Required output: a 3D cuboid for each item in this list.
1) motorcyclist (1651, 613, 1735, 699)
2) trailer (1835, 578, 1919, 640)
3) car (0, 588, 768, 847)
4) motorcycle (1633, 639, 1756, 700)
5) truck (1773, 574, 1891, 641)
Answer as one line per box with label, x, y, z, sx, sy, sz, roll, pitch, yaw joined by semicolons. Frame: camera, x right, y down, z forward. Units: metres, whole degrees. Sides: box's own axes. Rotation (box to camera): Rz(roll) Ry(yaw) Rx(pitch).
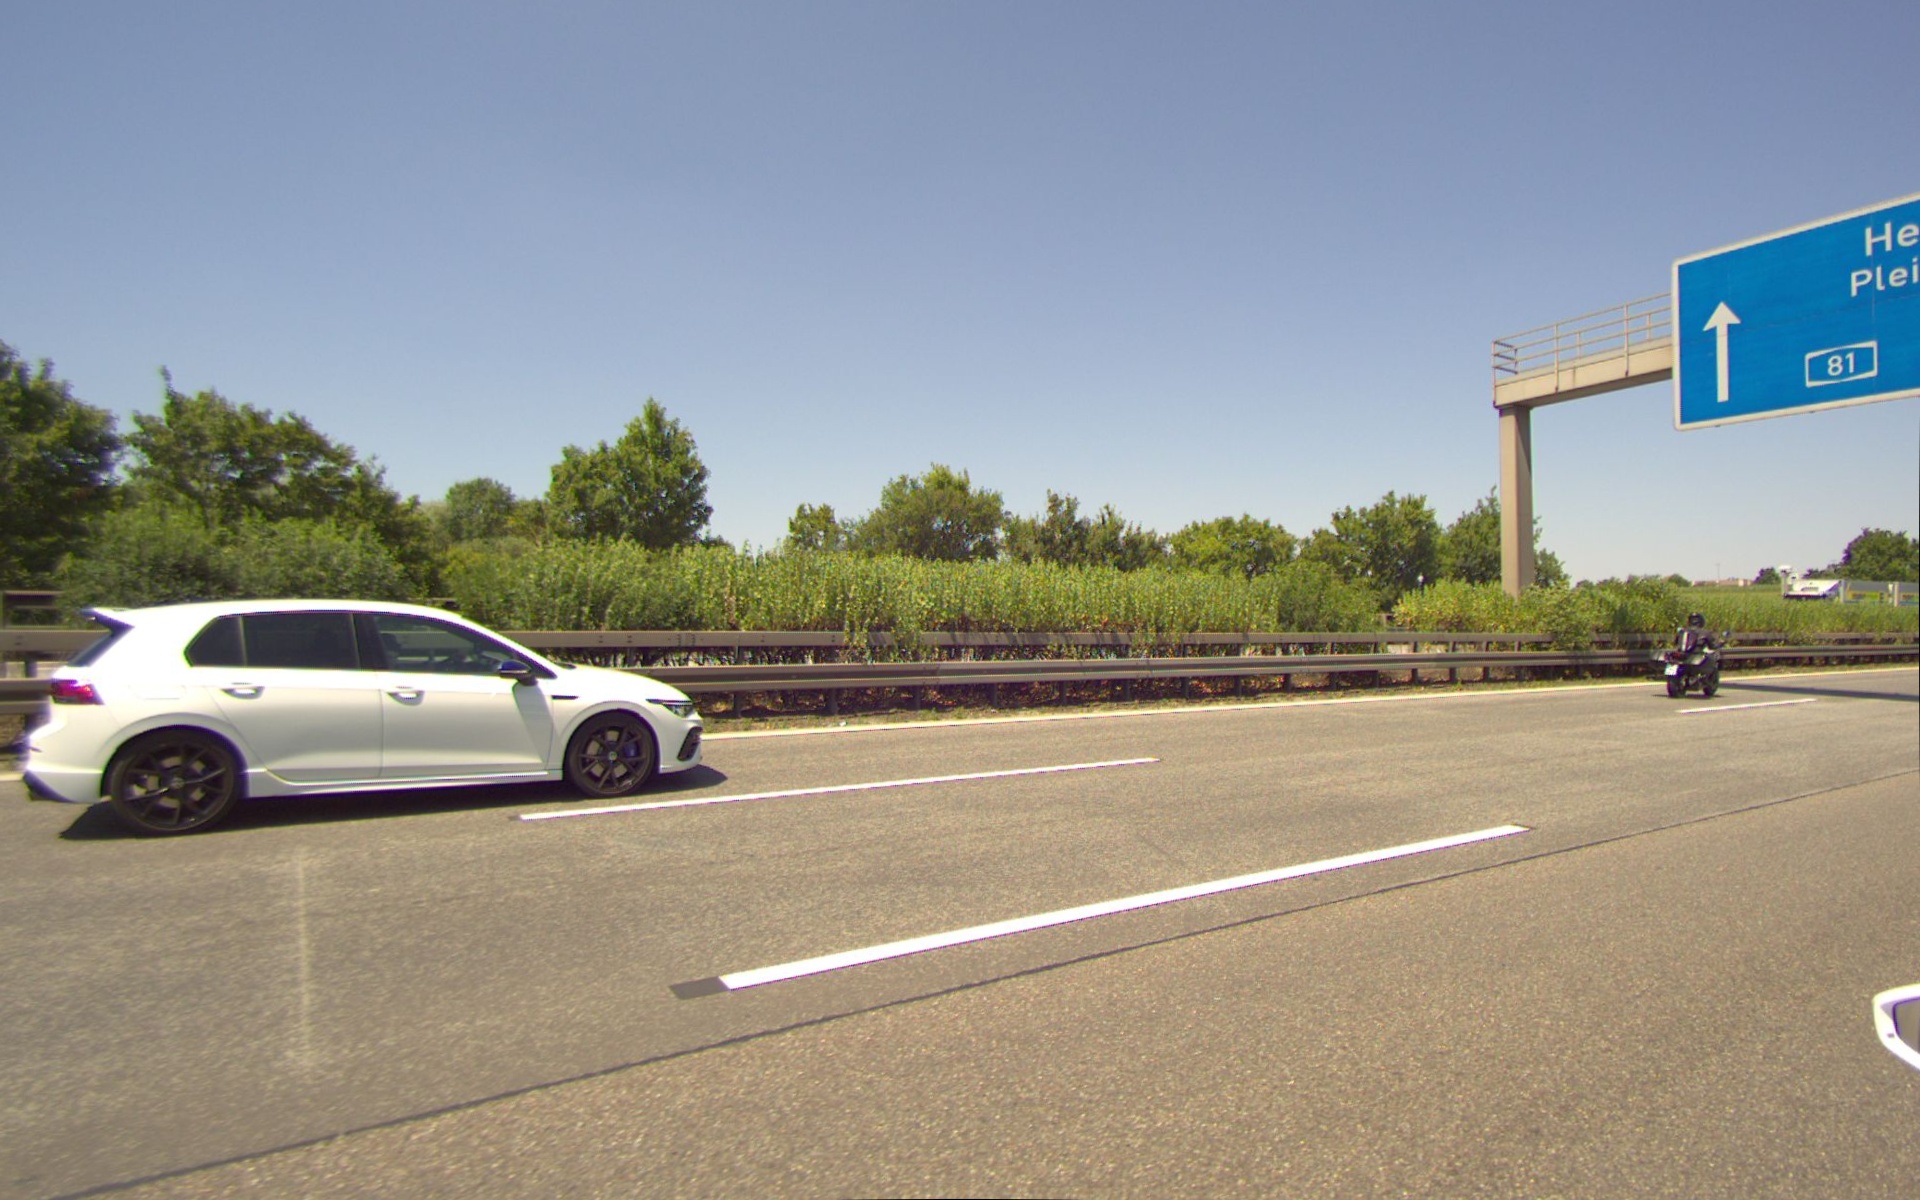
motorcyclist;14.299;1.075;19.604;1.284;1.618;0.889;1;-1;-30
trailer;63.944;0.661;69.432;8.564;4.020;2.906;1;0;-33
car;-3.972;0.716;7.648;4.618;1.459;1.772;1;-1;-33
motorcycle;14.390;1.325;19.658;2.816;1.103;0.908;1;-1;-30
truck;55.997;0.536;64.414;10.209;4.020;2.984;1;0;-33
